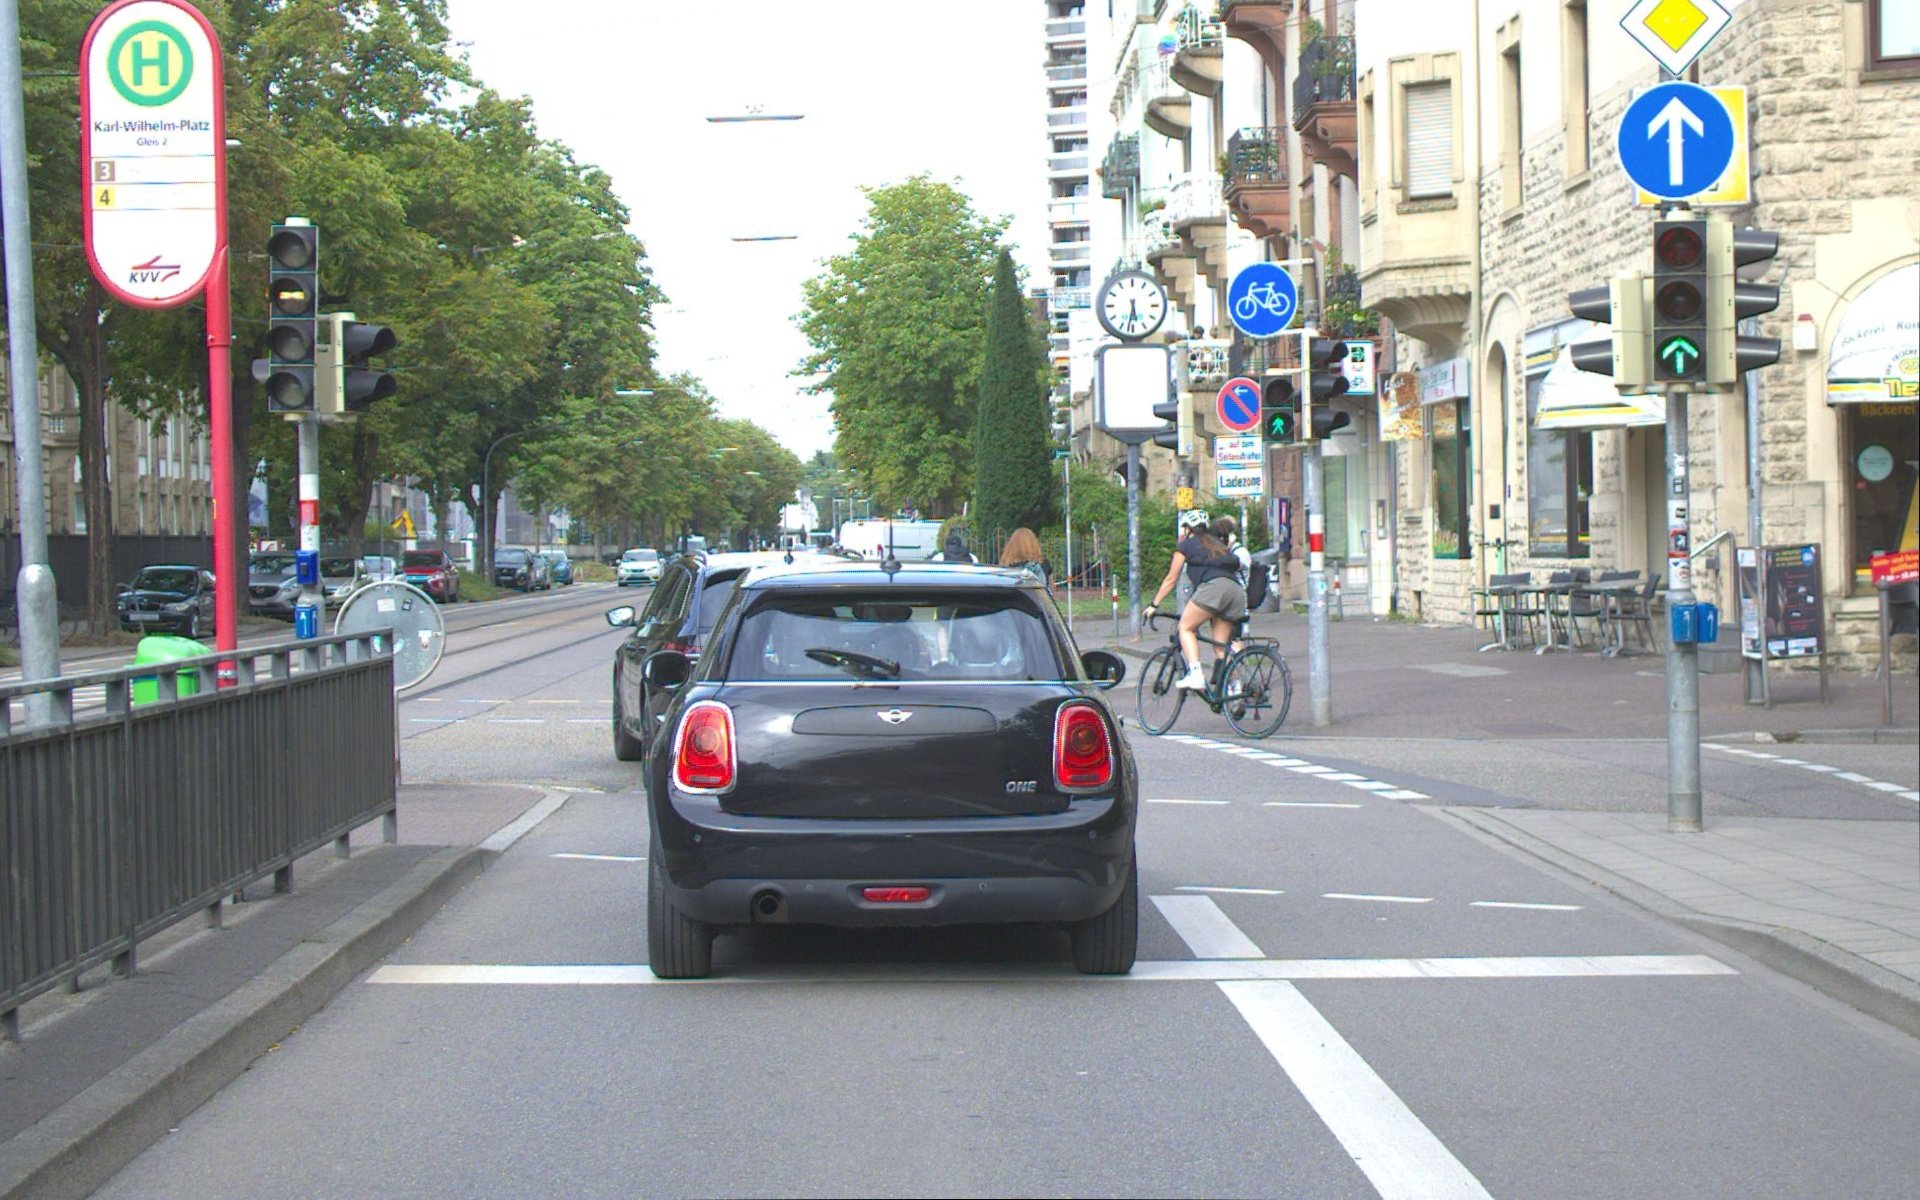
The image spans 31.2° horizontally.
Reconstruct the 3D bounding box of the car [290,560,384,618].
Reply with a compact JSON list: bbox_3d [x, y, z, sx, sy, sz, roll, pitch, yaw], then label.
[{"bbox_3d":[-15.874,-0.307,87.731,1.767,1.390,4.000,-1,1,-2],"label":"car"}]

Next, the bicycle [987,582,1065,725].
[{"bbox_3d":[0.564,0.447,29.885,0.598,1.166,1.697,-1,1,-1],"label":"bicycle"}]

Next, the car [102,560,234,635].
[{"bbox_3d":[-15.639,-0.076,68.032,1.767,1.390,4.000,-1,1,-2],"label":"car"}]

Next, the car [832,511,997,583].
[{"bbox_3d":[-1.472,-1.744,112.442,5.025,2.265,2.396,-2,1,-41],"label":"car"}]

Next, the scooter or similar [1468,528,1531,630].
[{"bbox_3d":[6.445,-0.263,41.098,0.508,1.184,1.262,-1,1,-1],"label":"scooter or similar"}]

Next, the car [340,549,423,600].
[{"bbox_3d":[-16.473,-0.734,98.013,1.767,1.390,4.000,-1,1,-2],"label":"car"}]

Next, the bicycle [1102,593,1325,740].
[{"bbox_3d":[1.936,0.495,26.478,0.615,1.073,1.820,-2,1,-39],"label":"bicycle"}]

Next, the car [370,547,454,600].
[{"bbox_3d":[-16.990,-0.840,106.765,1.993,1.546,4.000,-1,1,-1],"label":"car"}]

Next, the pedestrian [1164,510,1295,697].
[{"bbox_3d":[2.522,0.033,32.155,0.833,1.668,0.732,-6,2,-44],"label":"pedestrian"}]

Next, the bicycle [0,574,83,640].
[{"bbox_3d":[-16.365,0.124,60.555,1.667,1.115,0.573,-2,1,-40],"label":"bicycle"}]

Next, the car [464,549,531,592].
[{"bbox_3d":[-17.433,-1.118,129.733,1.993,1.546,4.000,-1,1,-1],"label":"car"}]

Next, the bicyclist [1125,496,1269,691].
[{"bbox_3d":[1.830,-0.057,26.594,0.615,1.468,0.915,-2,1,-39],"label":"bicyclist"}]

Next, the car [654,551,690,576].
[{"bbox_3d":[-18.644,-2.382,222.576,1.993,1.546,4.000,-1,1,-1],"label":"car"}]

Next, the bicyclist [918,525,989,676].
[{"bbox_3d":[-0.064,-0.005,36.233,0.684,1.558,0.998,-1,1,1],"label":"bicyclist"}]

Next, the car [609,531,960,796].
[{"bbox_3d":[-1.226,0.341,22.157,1.926,1.504,4.001,-1,1,-7],"label":"car"}]

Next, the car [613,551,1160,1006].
[{"bbox_3d":[-0.252,0.554,13.202,1.751,1.436,4.000,-1,1,0],"label":"car"}]

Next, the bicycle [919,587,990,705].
[{"bbox_3d":[-0.052,0.474,36.295,0.684,1.166,1.696,-1,1,1],"label":"bicycle"}]

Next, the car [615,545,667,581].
[{"bbox_3d":[-12.530,-1.468,135.264,1.767,1.390,4.000,-1,1,-2],"label":"car"}]

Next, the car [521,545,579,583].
[{"bbox_3d":[-17.384,-1.521,145.966,1.993,1.546,4.000,-1,1,-1],"label":"car"}]

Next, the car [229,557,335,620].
[{"bbox_3d":[-15.760,-0.282,80.056,1.767,1.390,4.000,-1,1,-2],"label":"car"}]

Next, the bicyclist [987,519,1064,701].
[{"bbox_3d":[0.563,0.073,29.876,0.594,1.545,1.014,-1,1,-1],"label":"bicyclist"}]
